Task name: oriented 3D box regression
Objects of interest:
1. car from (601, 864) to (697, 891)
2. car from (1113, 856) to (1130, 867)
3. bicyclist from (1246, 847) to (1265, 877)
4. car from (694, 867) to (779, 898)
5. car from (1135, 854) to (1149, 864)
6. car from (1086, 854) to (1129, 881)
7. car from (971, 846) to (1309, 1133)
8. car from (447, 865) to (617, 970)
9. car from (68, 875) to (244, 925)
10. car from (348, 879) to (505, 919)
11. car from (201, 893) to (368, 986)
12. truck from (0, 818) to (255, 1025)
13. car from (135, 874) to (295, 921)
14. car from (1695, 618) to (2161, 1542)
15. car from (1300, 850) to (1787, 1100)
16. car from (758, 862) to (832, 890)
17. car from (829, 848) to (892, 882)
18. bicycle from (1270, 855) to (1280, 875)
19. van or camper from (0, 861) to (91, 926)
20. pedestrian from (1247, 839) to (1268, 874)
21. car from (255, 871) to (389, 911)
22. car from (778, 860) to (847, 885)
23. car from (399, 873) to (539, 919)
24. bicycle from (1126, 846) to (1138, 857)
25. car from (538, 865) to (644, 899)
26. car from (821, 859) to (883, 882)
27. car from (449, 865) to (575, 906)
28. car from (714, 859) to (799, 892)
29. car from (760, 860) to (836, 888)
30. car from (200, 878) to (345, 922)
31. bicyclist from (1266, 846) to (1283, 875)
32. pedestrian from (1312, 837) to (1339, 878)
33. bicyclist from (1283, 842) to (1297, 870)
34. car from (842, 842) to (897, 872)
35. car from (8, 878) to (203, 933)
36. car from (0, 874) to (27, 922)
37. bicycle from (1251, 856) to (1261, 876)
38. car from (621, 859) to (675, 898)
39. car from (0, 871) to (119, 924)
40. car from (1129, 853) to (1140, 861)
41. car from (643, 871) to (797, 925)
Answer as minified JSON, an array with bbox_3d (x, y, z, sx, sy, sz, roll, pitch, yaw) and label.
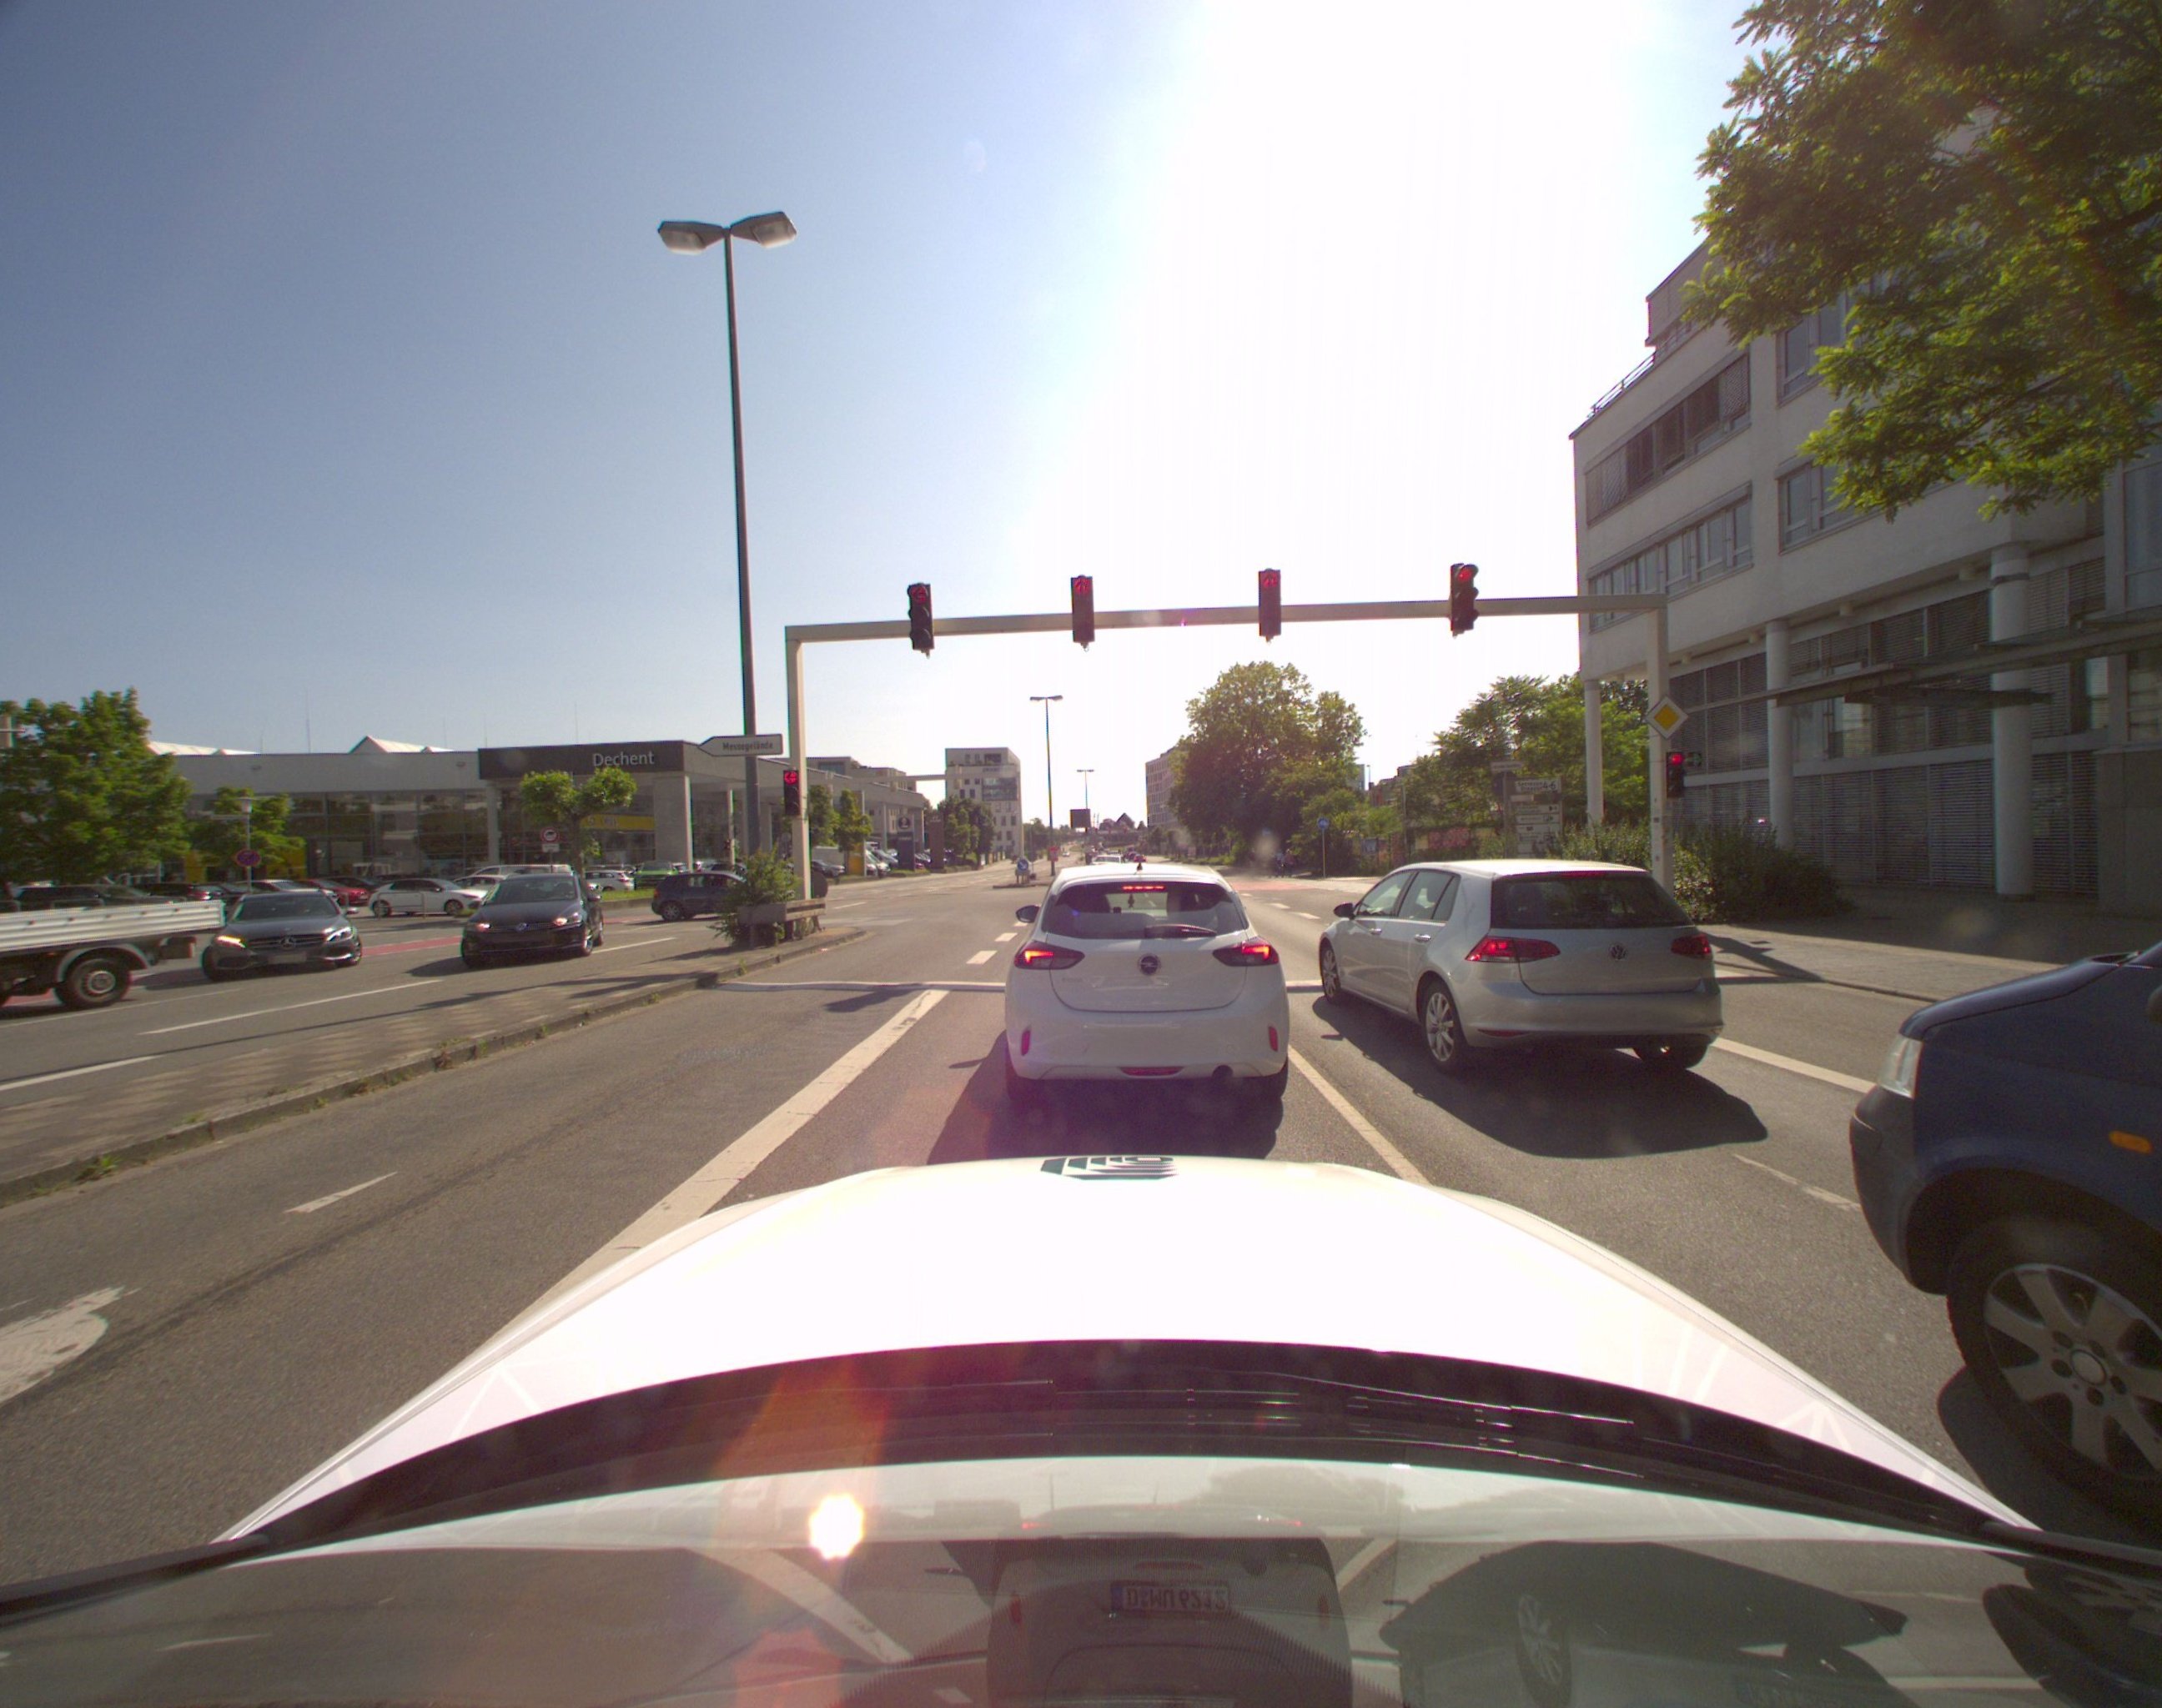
[{"bbox_3d":[-24.708,1.367,46.677,4.352,1.268,1.995,-3,-2,-7],"label":"car"},{"bbox_3d":[5.172,0.960,103.272,1.802,1.386,3.996,0,-1,-2],"label":"car"},{"bbox_3d":[10.498,0.453,49.022,0.876,1.772,0.864,-2,0,1],"label":"bicyclist"},{"bbox_3d":[-19.821,1.638,47.002,3.981,1.599,1.996,-2,0,-6],"label":"car"},{"bbox_3d":[8.716,0.701,117.085,1.799,1.386,4.001,0,-1,2],"label":"car"},{"bbox_3d":[1.424,0.676,42.313,1.983,1.331,4.006,0,-1,6],"label":"car"},{"bbox_3d":[0.374,0.733,6.390,1.773,1.494,4.001,-2,0,2],"label":"car"},{"bbox_3d":[-10.077,1.050,15.299,1.894,1.617,4.102,-2,0,-24],"label":"car"},{"bbox_3d":[-36.217,1.760,31.990,4.348,1.696,1.997,-2,0,-4],"label":"car"},{"bbox_3d":[-25.498,1.739,31.860,4.348,1.300,1.997,-2,0,-4],"label":"car"},{"bbox_3d":[-15.073,1.496,15.349,3.949,1.360,1.917,0,-1,41],"label":"car"},{"bbox_3d":[-14.509,0.889,9.707,2.346,2.545,6.445,-3,0,4],"label":"truck"},{"bbox_3d":[-36.304,1.795,34.245,4.348,1.696,1.997,-2,0,-4],"label":"car"},{"bbox_3d":[3.218,0.444,0.536,1.986,1.948,4.892,-2,-1,2],"label":"car"},{"bbox_3d":[3.316,0.741,6.888,1.802,1.429,3.999,-2,-1,0],"label":"car"},{"bbox_3d":[-19.959,1.515,56.957,4.344,1.696,1.999,-2,0,-1],"label":"car"},{"bbox_3d":[-18.477,0.932,68.351,4.469,2.684,2.134,-2,0,10],"label":"car"},{"bbox_3d":[11.205,0.640,47.050,0.372,1.147,1.034,0,-1,0],"label":"bicycle"},{"bbox_3d":[-41.952,1.563,31.337,4.711,2.400,1.995,-2,0,-8],"label":"van or camper"},{"bbox_3d":[11.322,0.163,52.251,1.023,2.238,1.039,-2,0,1],"label":"pedestrian"},{"bbox_3d":[-36.624,1.768,39.411,4.352,1.696,1.995,-2,0,-7],"label":"car"},{"bbox_3d":[-19.773,1.360,60.152,4.344,1.696,1.999,-2,0,-1],"label":"car"},{"bbox_3d":[-26.247,1.770,35.054,4.348,1.696,1.997,-2,0,-4],"label":"car"},{"bbox_3d":[9.701,-0.458,155.599,1.986,2.157,4.001,-2,0,1],"label":"bicycle"},{"bbox_3d":[-26.162,1.488,43.582,4.352,1.591,1.996,-2,0,-7],"label":"car"},{"bbox_3d":[-18.511,1.331,65.899,4.334,1.696,2.004,-2,0,6],"label":"car"},{"bbox_3d":[-26.589,1.435,38.191,4.353,1.696,1.995,-2,0,-7],"label":"car"},{"bbox_3d":[-19.691,1.291,49.578,4.284,1.765,1.999,-2,0,-1],"label":"car"},{"bbox_3d":[-18.987,1.346,54.706,4.343,1.696,1.999,-2,0,-1],"label":"car"},{"bbox_3d":[-36.640,2.050,37.012,4.348,1.696,1.997,-2,0,-4],"label":"car"},{"bbox_3d":[11.202,0.377,47.114,0.687,1.643,0.775,-2,0,-7],"label":"bicyclist"},{"bbox_3d":[12.419,0.186,41.465,1.023,2.013,1.039,-2,0,1],"label":"pedestrian"},{"bbox_3d":[12.231,0.130,47.760,0.650,1.637,0.660,0,-1,1],"label":"bicyclist"},{"bbox_3d":[-19.103,0.263,73.685,4.334,2.601,2.004,-2,0,6],"label":"car"},{"bbox_3d":[-35.152,1.809,29.472,4.348,1.696,1.997,-2,0,-4],"label":"car"},{"bbox_3d":[-40.612,1.646,28.329,4.371,1.696,1.987,-2,0,-20],"label":"car"},{"bbox_3d":[10.542,0.729,48.997,0.371,1.216,1.154,0,0,2],"label":"bicycle"},{"bbox_3d":[-21.258,1.211,39.954,1.915,1.733,3.258,-2,-1,-35],"label":"car"},{"bbox_3d":[-43.167,1.812,33.695,3.984,2.013,1.995,-2,0,-8],"label":"car"},{"bbox_3d":[9.191,0.505,139.501,1.799,1.386,4.001,0,-1,2],"label":"car"},{"bbox_3d":[-11.261,1.332,25.663,3.986,1.442,1.994,-2,0,-9],"label":"car"}]
